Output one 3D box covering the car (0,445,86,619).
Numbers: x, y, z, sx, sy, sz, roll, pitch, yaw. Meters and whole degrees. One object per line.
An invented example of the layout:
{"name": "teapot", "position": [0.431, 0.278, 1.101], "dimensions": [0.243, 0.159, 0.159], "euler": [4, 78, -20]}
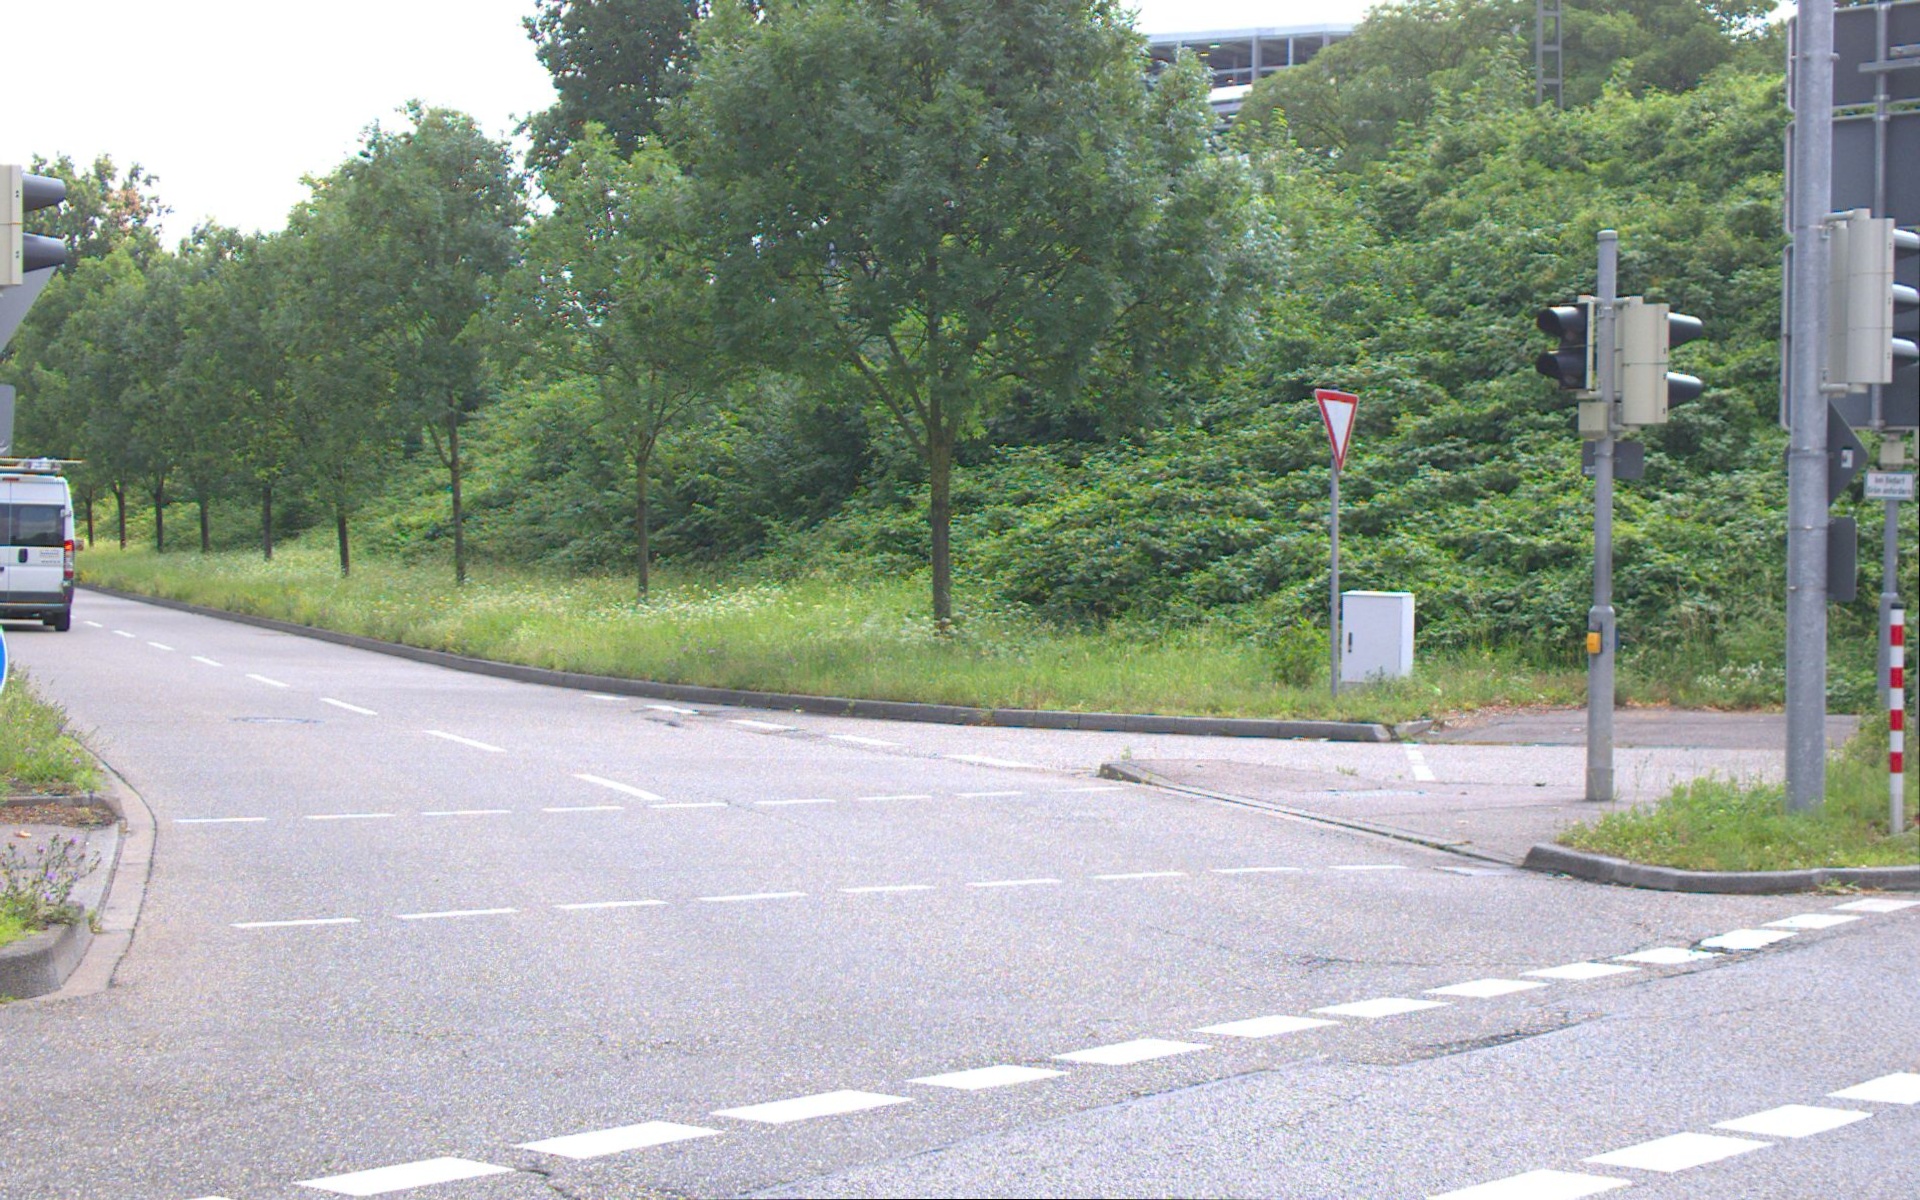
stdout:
{"name": "car", "position": [-15.728, -1.152, 56.003], "dimensions": [2.197, 2.716, 4.933], "euler": [-1, 3, -22]}
